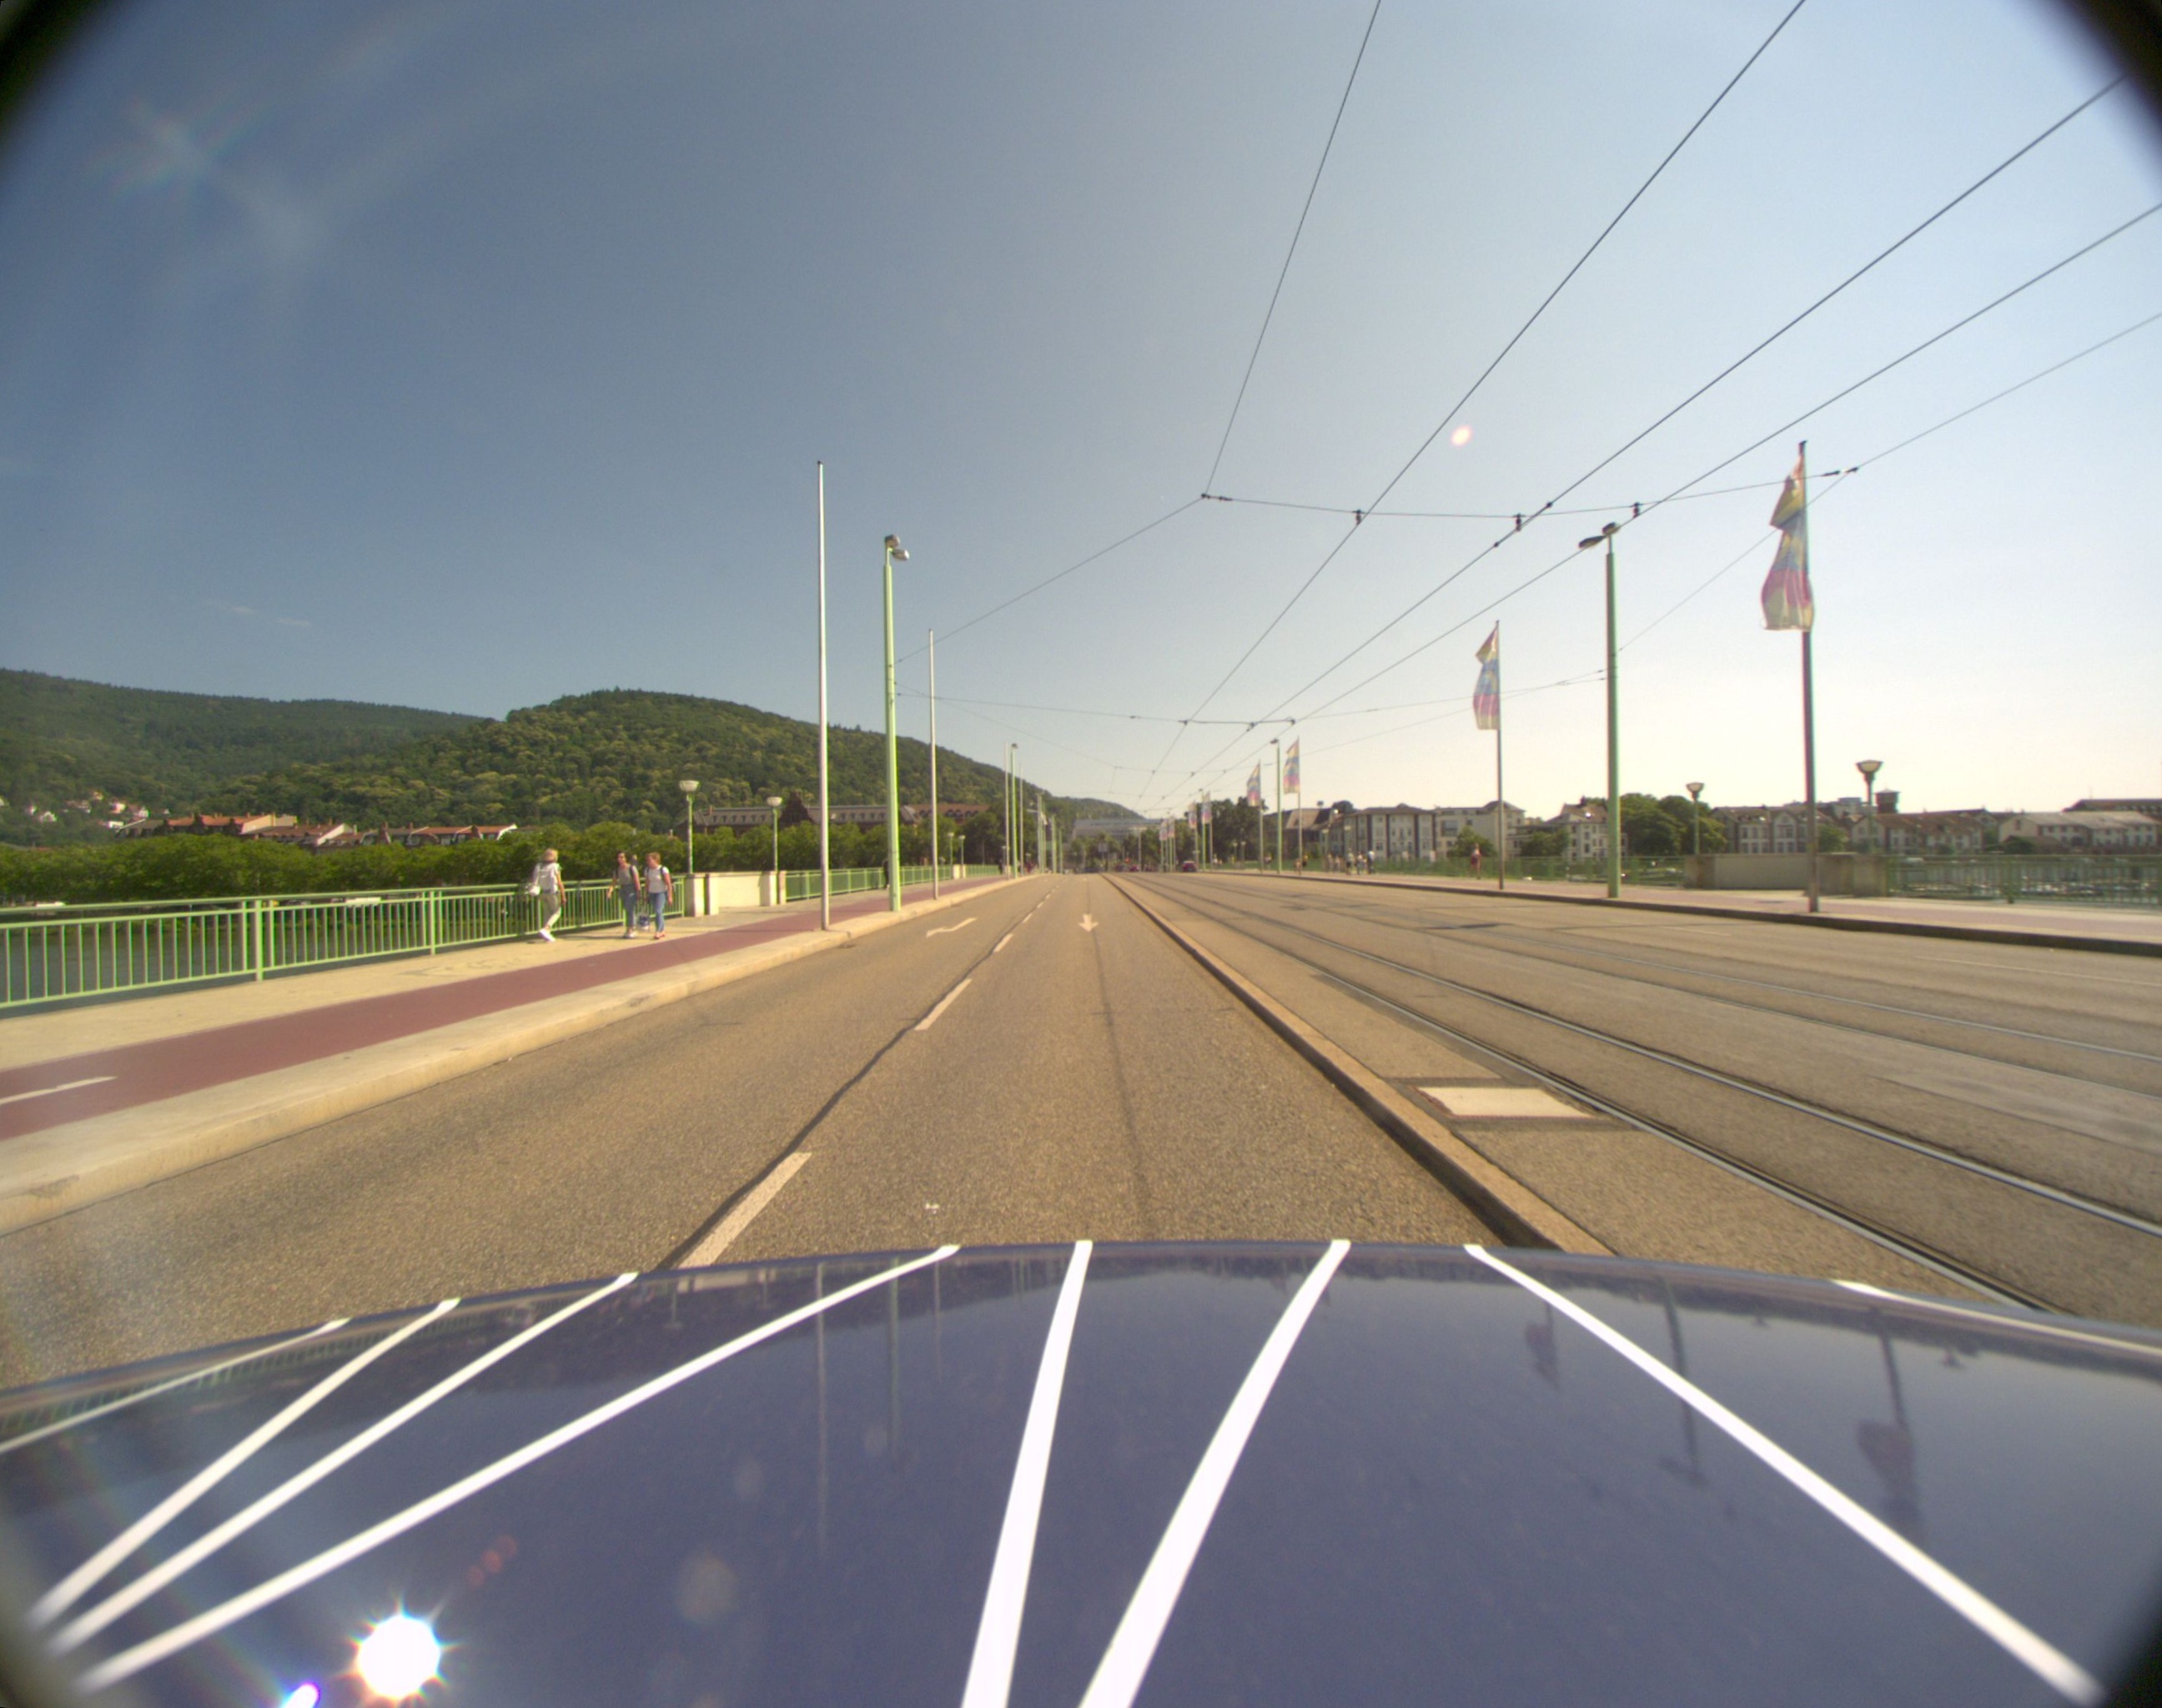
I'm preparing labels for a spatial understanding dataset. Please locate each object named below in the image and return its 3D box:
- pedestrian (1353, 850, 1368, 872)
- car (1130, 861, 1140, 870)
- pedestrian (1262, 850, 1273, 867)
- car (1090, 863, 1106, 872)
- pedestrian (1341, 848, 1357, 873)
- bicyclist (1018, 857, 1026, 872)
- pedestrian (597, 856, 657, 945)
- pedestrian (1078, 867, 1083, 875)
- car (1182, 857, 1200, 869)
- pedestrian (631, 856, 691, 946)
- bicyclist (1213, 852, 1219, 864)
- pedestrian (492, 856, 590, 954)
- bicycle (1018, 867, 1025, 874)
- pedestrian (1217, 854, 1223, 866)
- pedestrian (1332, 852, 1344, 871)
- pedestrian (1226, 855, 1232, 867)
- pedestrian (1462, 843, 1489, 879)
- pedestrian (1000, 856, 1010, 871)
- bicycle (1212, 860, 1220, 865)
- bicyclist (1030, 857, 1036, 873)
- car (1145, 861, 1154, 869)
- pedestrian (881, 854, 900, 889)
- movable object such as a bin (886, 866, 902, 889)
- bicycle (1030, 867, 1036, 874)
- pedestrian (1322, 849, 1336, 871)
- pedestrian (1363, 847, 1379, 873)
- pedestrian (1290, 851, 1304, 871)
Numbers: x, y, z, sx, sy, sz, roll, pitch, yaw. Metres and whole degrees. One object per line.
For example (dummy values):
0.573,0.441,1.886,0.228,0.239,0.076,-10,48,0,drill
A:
18.774,0.467,51.102,0.592,1.406,1.022,-3,0,0,pedestrian
10.931,2.285,155.298,1.714,1.686,4.000,-5,0,1,car
19.346,0.484,78.838,0.787,1.690,1.022,-3,1,0,pedestrian
4.292,3.433,193.635,3.998,2.002,2.000,-6,0,-2,car
18.168,0.432,51.534,0.671,1.690,1.022,-3,1,0,pedestrian
-6.473,1.151,83.414,0.731,1.655,0.844,-2,0,1,bicyclist
-8.640,0.858,14.483,0.669,1.649,0.746,0,1,0,pedestrian
-0.098,4.493,204.356,1.201,2.002,1.035,-3,2,1,pedestrian
13.761,1.083,95.384,1.721,1.446,3.901,0,0,0,car
-7.941,0.858,14.384,0.664,1.649,0.825,0,1,0,pedestrian
17.696,0.538,99.441,0.666,1.641,0.622,-1,0,1,bicyclist
-9.534,0.864,13.461,0.950,1.653,1.082,0,0,0,pedestrian
-6.484,1.816,83.244,0.595,0.761,1.866,0,0,1,bicycle
20.329,0.836,110.955,0.592,1.690,1.022,-6,0,0,pedestrian
19.325,0.550,57.160,0.547,1.429,0.789,-3,1,0,pedestrian
20.826,0.995,106.985,0.592,1.690,0.905,-6,0,0,pedestrian
19.328,0.331,37.239,0.686,1.680,1.022,-3,0,0,pedestrian
-8.670,1.066,86.602,0.950,1.653,1.082,1,0,0,pedestrian
17.713,1.122,99.502,0.667,0.712,2.173,-1,0,1,bicycle
-5.386,1.191,85.186,0.587,1.759,0.672,0,1,1,bicyclist
13.777,2.245,153.035,1.672,1.428,4.000,-1,1,1,car
-9.142,0.832,36.506,0.664,1.696,0.859,0,1,0,pedestrian
-9.184,1.142,37.365,0.583,1.084,0.933,0,0,0,movable object such as a bin
-5.384,1.832,85.183,0.595,0.761,1.866,0,0,1,bicycle
18.645,0.460,57.164,0.627,1.590,1.022,-3,0,0,pedestrian
19.466,0.374,50.992,0.592,1.690,1.022,-3,1,0,pedestrian
18.359,0.576,64.601,0.787,1.690,1.022,-3,1,0,pedestrian
